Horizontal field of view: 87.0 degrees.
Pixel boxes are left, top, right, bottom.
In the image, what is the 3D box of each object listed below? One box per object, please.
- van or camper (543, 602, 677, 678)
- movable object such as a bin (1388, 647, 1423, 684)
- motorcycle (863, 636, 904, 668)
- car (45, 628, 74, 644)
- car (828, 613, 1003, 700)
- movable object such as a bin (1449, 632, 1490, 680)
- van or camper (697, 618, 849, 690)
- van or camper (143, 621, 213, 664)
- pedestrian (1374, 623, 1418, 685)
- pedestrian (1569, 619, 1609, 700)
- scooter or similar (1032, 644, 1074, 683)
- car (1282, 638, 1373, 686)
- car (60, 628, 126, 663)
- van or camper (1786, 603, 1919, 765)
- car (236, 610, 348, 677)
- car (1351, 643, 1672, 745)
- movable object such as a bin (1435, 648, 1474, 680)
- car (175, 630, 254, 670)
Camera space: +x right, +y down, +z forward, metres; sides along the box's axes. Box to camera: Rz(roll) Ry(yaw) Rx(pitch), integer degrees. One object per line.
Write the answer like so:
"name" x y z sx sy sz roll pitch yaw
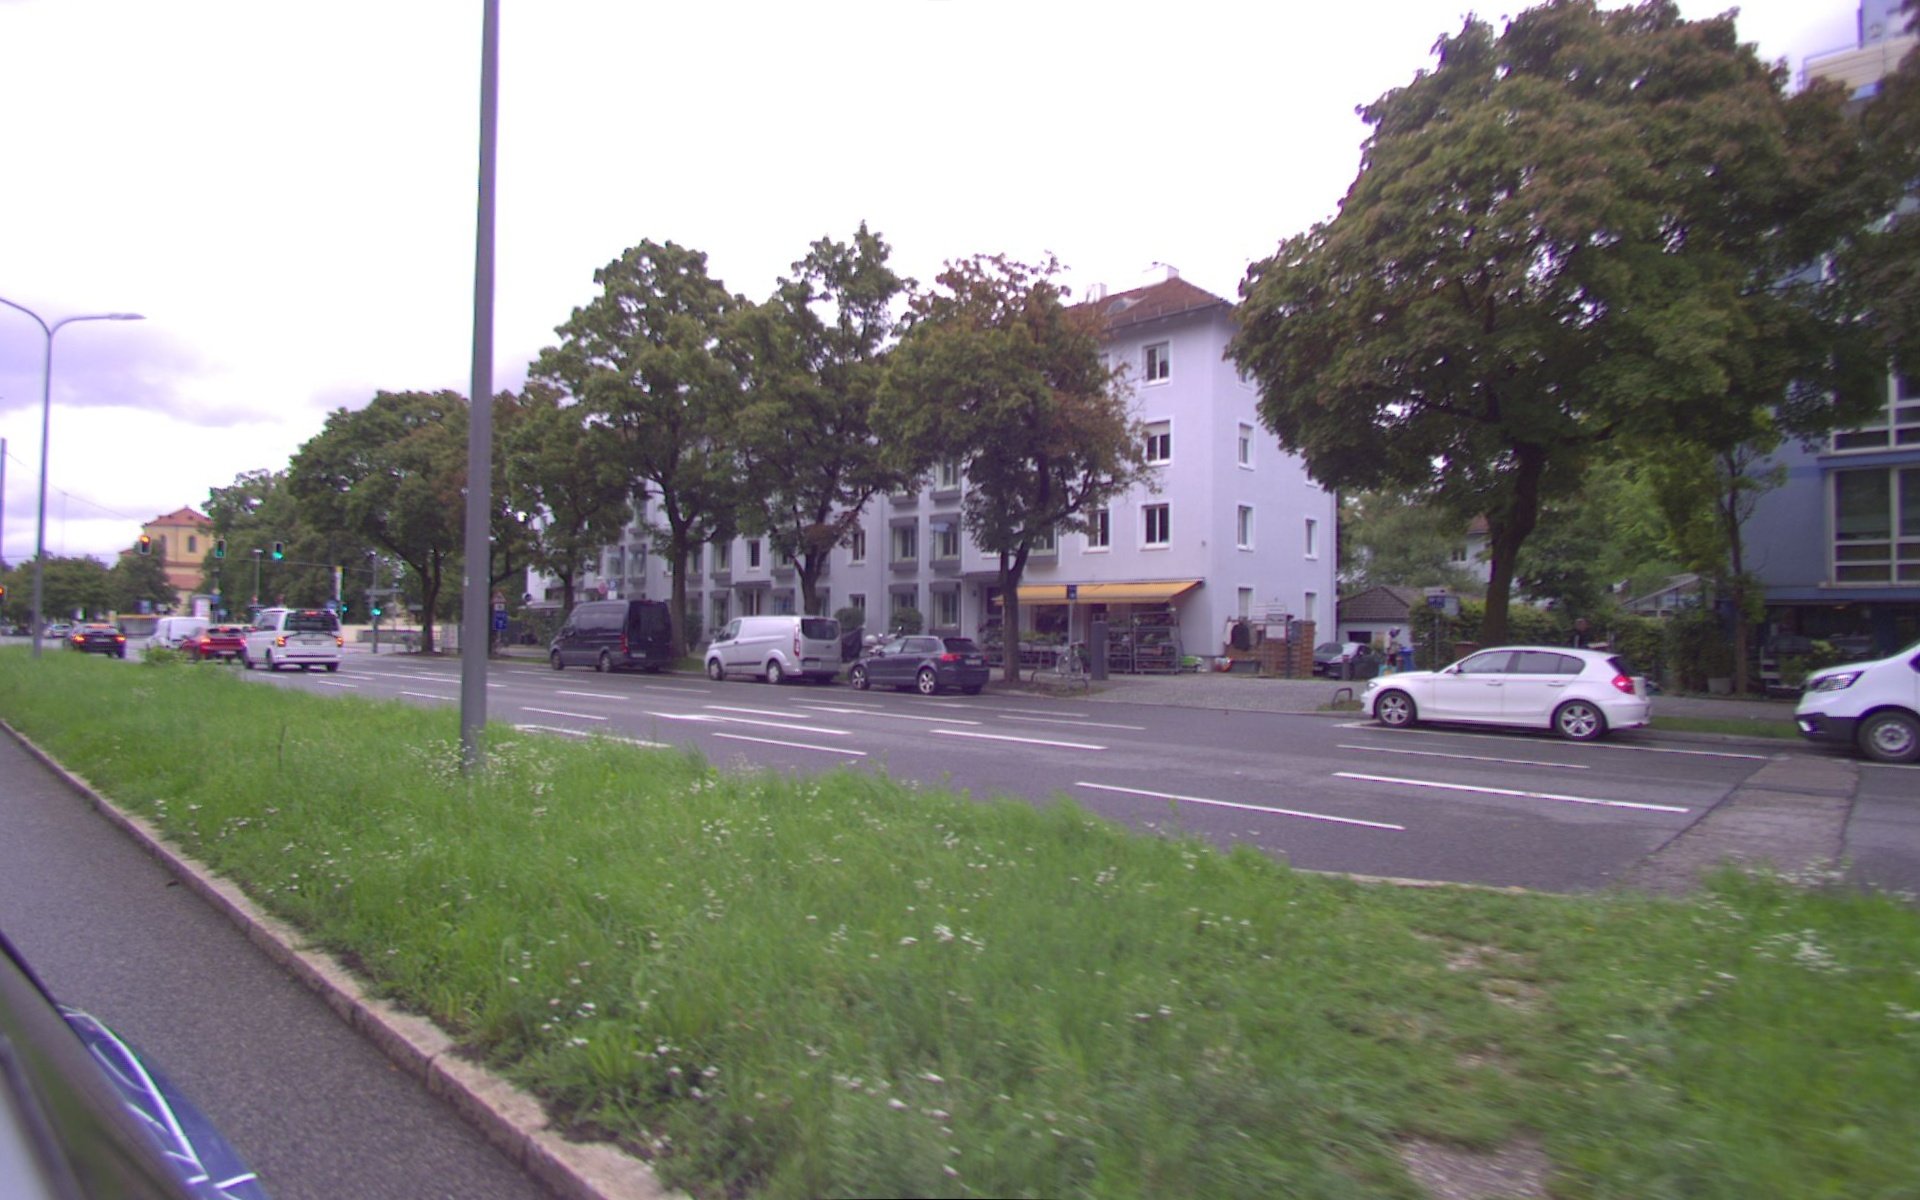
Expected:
"van or camper" -12.611 1.413 36.253 5.546 2.506 2.028 -2 -3 42
"movable object such as a bin" 18.327 2.679 41.609 1.025 1.379 1.372 -1 0 37
"motorcycle" -2.902 1.968 38.404 0.463 1.179 1.791 -1 -3 38
"car" -109.737 4.346 123.302 3.998 1.904 2.117 -2 -3 41
"car" -1.209 1.381 25.686 4.546 2.013 1.777 -2 -3 43
"movable object such as a bin" 12.772 1.383 25.369 0.764 1.128 0.967 -1 0 37
"van or camper" -5.582 1.540 29.842 4.704 1.957 1.998 -2 -3 43
"van or camper" -34.539 1.849 44.663 4.125 1.811 1.772 -2 -3 43
"pedestrian" 11.593 1.437 26.943 0.968 1.615 0.763 0 -2 17
"pedestrian" 13.174 1.227 21.187 0.633 1.658 0.533 -1 -3 39
"scooter or similar" 2.673 1.781 28.821 0.567 1.021 1.783 -1 -1 27
"car" 11.998 1.982 32.898 1.549 1.431 3.947 -1 -3 39
"car" -37.744 1.962 44.018 3.672 1.459 1.738 -2 -3 43
"van or camper" 13.371 1.038 12.178 5.210 1.983 1.785 -2 -3 42
"car" -21.577 1.384 32.607 4.704 2.013 1.918 -2 -3 43
"car" 8.814 1.429 16.418 4.332 1.405 1.658 -1 -3 41
"movable object such as a bin" 22.322 2.851 45.651 1.331 1.330 1.372 -1 0 37
"car" -28.557 1.889 38.734 3.672 1.459 1.772 -2 -3 43
